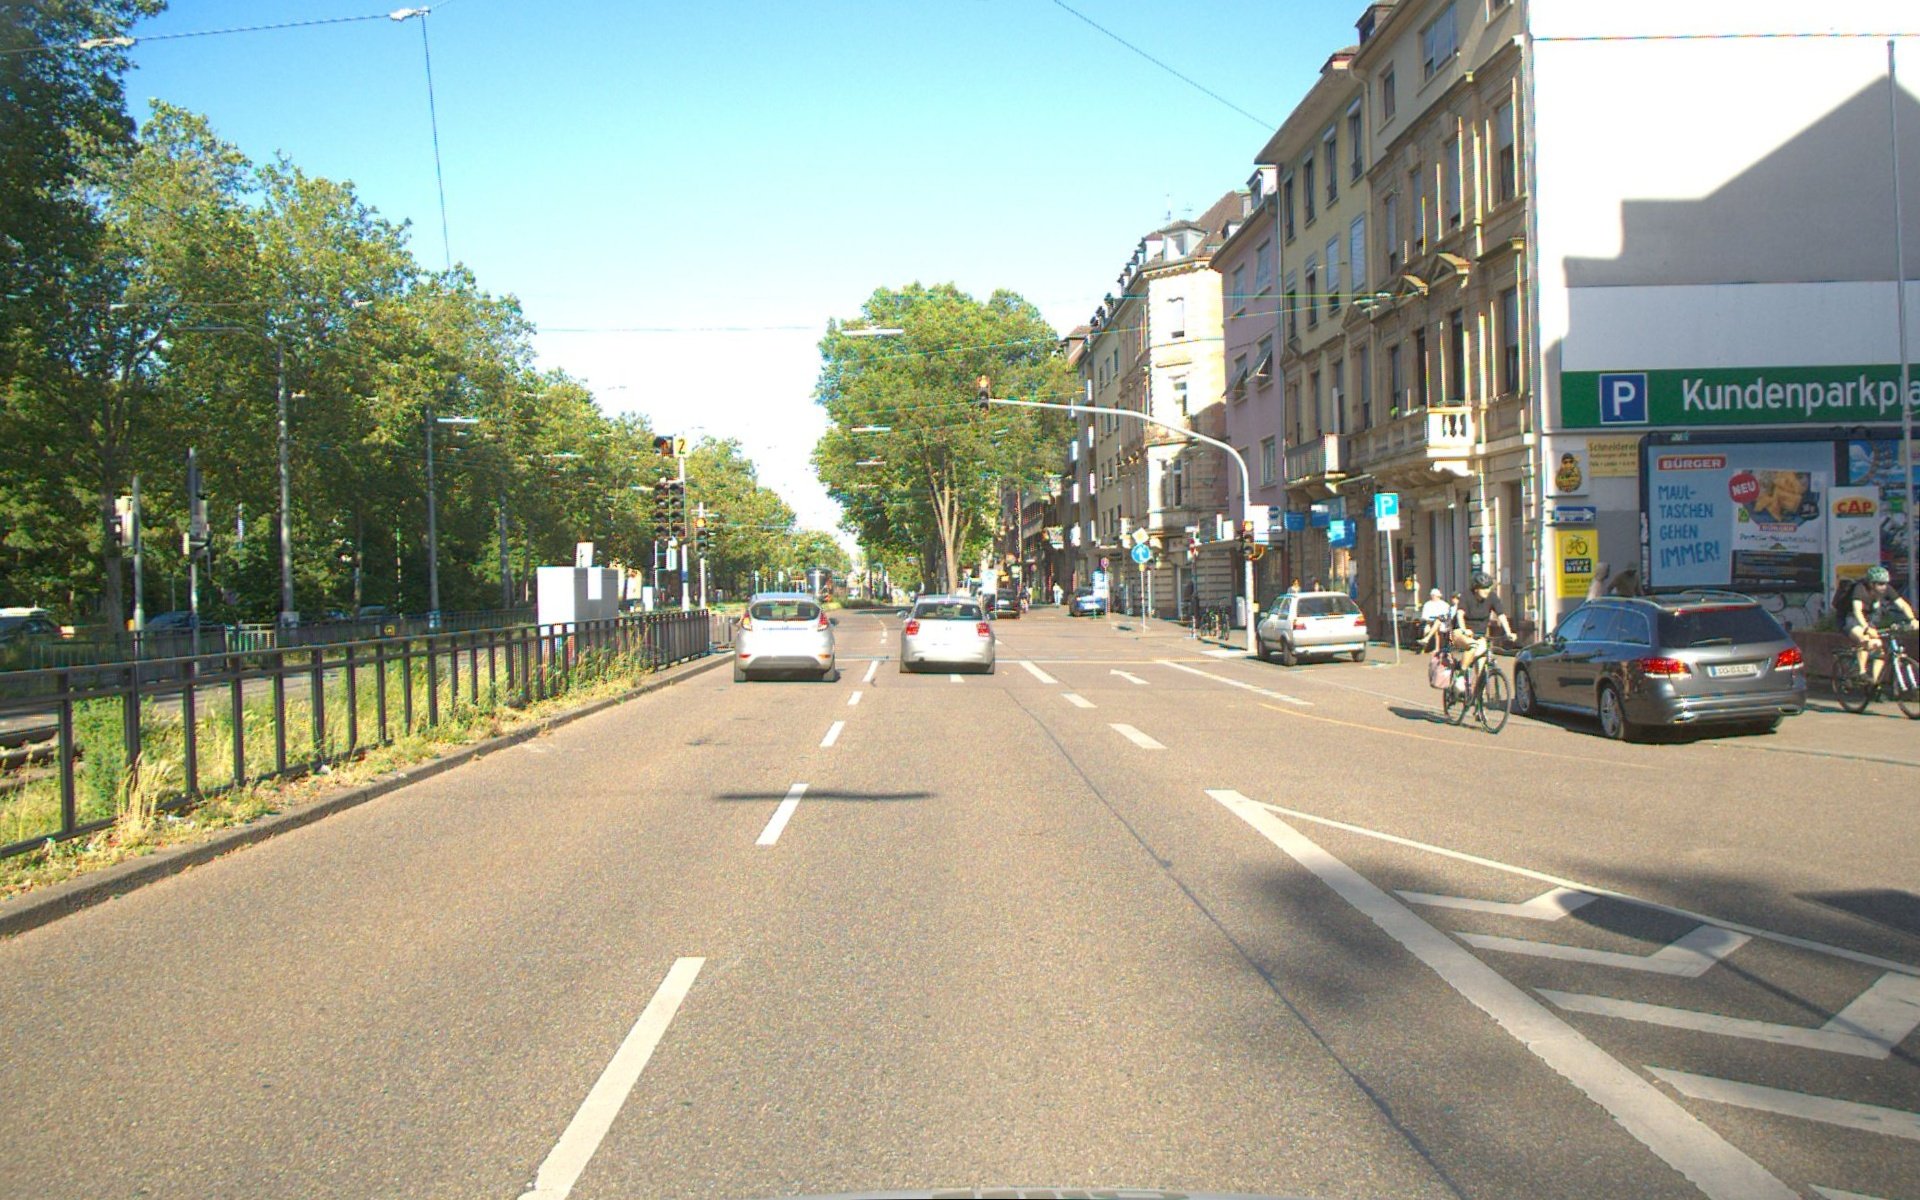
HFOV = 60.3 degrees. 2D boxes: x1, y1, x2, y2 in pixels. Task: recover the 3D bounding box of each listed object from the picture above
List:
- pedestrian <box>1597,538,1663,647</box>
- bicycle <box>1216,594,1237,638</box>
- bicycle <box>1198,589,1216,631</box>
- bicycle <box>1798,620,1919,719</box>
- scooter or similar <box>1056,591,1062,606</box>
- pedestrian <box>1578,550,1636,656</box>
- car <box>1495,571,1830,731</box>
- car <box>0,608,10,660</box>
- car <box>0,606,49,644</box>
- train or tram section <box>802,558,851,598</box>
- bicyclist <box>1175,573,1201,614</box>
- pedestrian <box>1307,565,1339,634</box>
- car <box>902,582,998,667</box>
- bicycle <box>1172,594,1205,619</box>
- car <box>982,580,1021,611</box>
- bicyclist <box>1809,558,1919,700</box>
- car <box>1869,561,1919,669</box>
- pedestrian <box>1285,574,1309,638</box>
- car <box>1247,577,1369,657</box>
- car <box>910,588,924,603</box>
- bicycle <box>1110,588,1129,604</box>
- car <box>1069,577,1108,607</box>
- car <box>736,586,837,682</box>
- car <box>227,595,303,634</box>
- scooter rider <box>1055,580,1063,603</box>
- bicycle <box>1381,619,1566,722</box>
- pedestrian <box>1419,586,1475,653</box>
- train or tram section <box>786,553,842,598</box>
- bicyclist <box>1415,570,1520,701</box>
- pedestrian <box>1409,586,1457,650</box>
[{"bbox_3d":[11.814,-0.132,29.191,0.749,1.873,0.743,-2,0,-22],"label":"pedestrian"},{"bbox_3d":[7.536,0.439,46.831,0.439,1.179,1.759,-1,1,5],"label":"bicycle"},{"bbox_3d":[7.102,0.284,47.546,0.405,1.160,1.811,0,1,5],"label":"bicycle"},{"bbox_3d":[10.105,0.741,18.269,0.636,0.936,1.917,-5,1,-1],"label":"bicycle"},{"bbox_3d":[6.710,-0.112,111.779,0.330,1.005,1.285,-1,1,2],"label":"scooter or similar"},{"bbox_3d":[11.154,0.052,28.525,0.749,1.786,0.510,-2,0,-21],"label":"pedestrian"},{"bbox_3d":[7.963,0.492,19.309,1.796,1.513,4.733,-4,1,0],"label":"car"},{"bbox_3d":[-29.270,1.060,47.558,1.636,1.536,4.143,-1,1,-2],"label":"car"},{"bbox_3d":[-40.506,1.071,69.293,3.904,1.520,1.394,-1,1,2],"label":"car"},{"bbox_3d":[-13.711,-2.274,171.486,3.924,3.933,17.485,-1,1,-1],"label":"train or tram section"},{"bbox_3d":[8.684,-0.243,62.970,0.538,1.528,0.956,-1,1,40],"label":"bicyclist"},{"bbox_3d":[9.892,-0.010,45.037,0.659,1.837,0.530,-3,1,-1],"label":"pedestrian"},{"bbox_3d":[-0.214,0.411,31.559,1.705,1.493,3.999,0,1,-1],"label":"car"},{"bbox_3d":[8.705,0.248,62.995,0.642,0.919,1.331,0,1,40],"label":"bicycle"},{"bbox_3d":[2.052,-0.243,82.211,1.701,1.458,3.676,0,1,-2],"label":"car"},{"bbox_3d":[10.063,0.300,18.254,0.663,1.470,1.181,-5,1,-1],"label":"bicyclist"},{"bbox_3d":[14.237,0.191,22.630,1.527,1.511,3.391,-1,1,-5],"label":"car"},{"bbox_3d":[9.188,0.166,45.109,0.538,1.738,0.388,-1,0,2],"label":"pedestrian"},{"bbox_3d":[7.171,0.308,34.404,1.531,1.440,4.003,-5,1,-1],"label":"car"},{"bbox_3d":[-6.295,-0.629,240.200,1.953,2.049,3.999,-2,1,-1],"label":"car"},{"bbox_3d":[8.507,-0.225,88.514,0.739,0.784,1.944,-1,1,-2],"label":"bicycle"},{"bbox_3d":[6.792,-0.454,87.924,1.700,1.546,3.635,0,1,-2],"label":"car"},{"bbox_3d":[-3.012,0.521,28.438,1.578,1.493,3.884,-1,1,-7],"label":"car"},{"bbox_3d":[-29.925,0.594,71.306,1.636,1.536,4.143,-1,1,-2],"label":"car"},{"bbox_3d":[6.708,-0.588,111.832,0.456,1.531,0.811,0,-1,0],"label":"scooter rider"},{"bbox_3d":[5.971,0.791,19.304,0.753,1.121,1.922,-2,1,-44],"label":"bicycle"},{"bbox_3d":[9.871,0.390,33.550,0.883,1.304,0.655,-2,1,-6],"label":"pedestrian"},{"bbox_3d":[-13.419,-2.275,154.074,3.888,3.933,17.485,-1,1,-1],"label":"train or tram section"},{"bbox_3d":[5.936,0.398,19.346,0.741,1.487,0.937,0,0,-42],"label":"bicyclist"},{"bbox_3d":[9.787,0.365,34.222,0.781,1.304,0.608,-1,0,-3],"label":"pedestrian"}]
